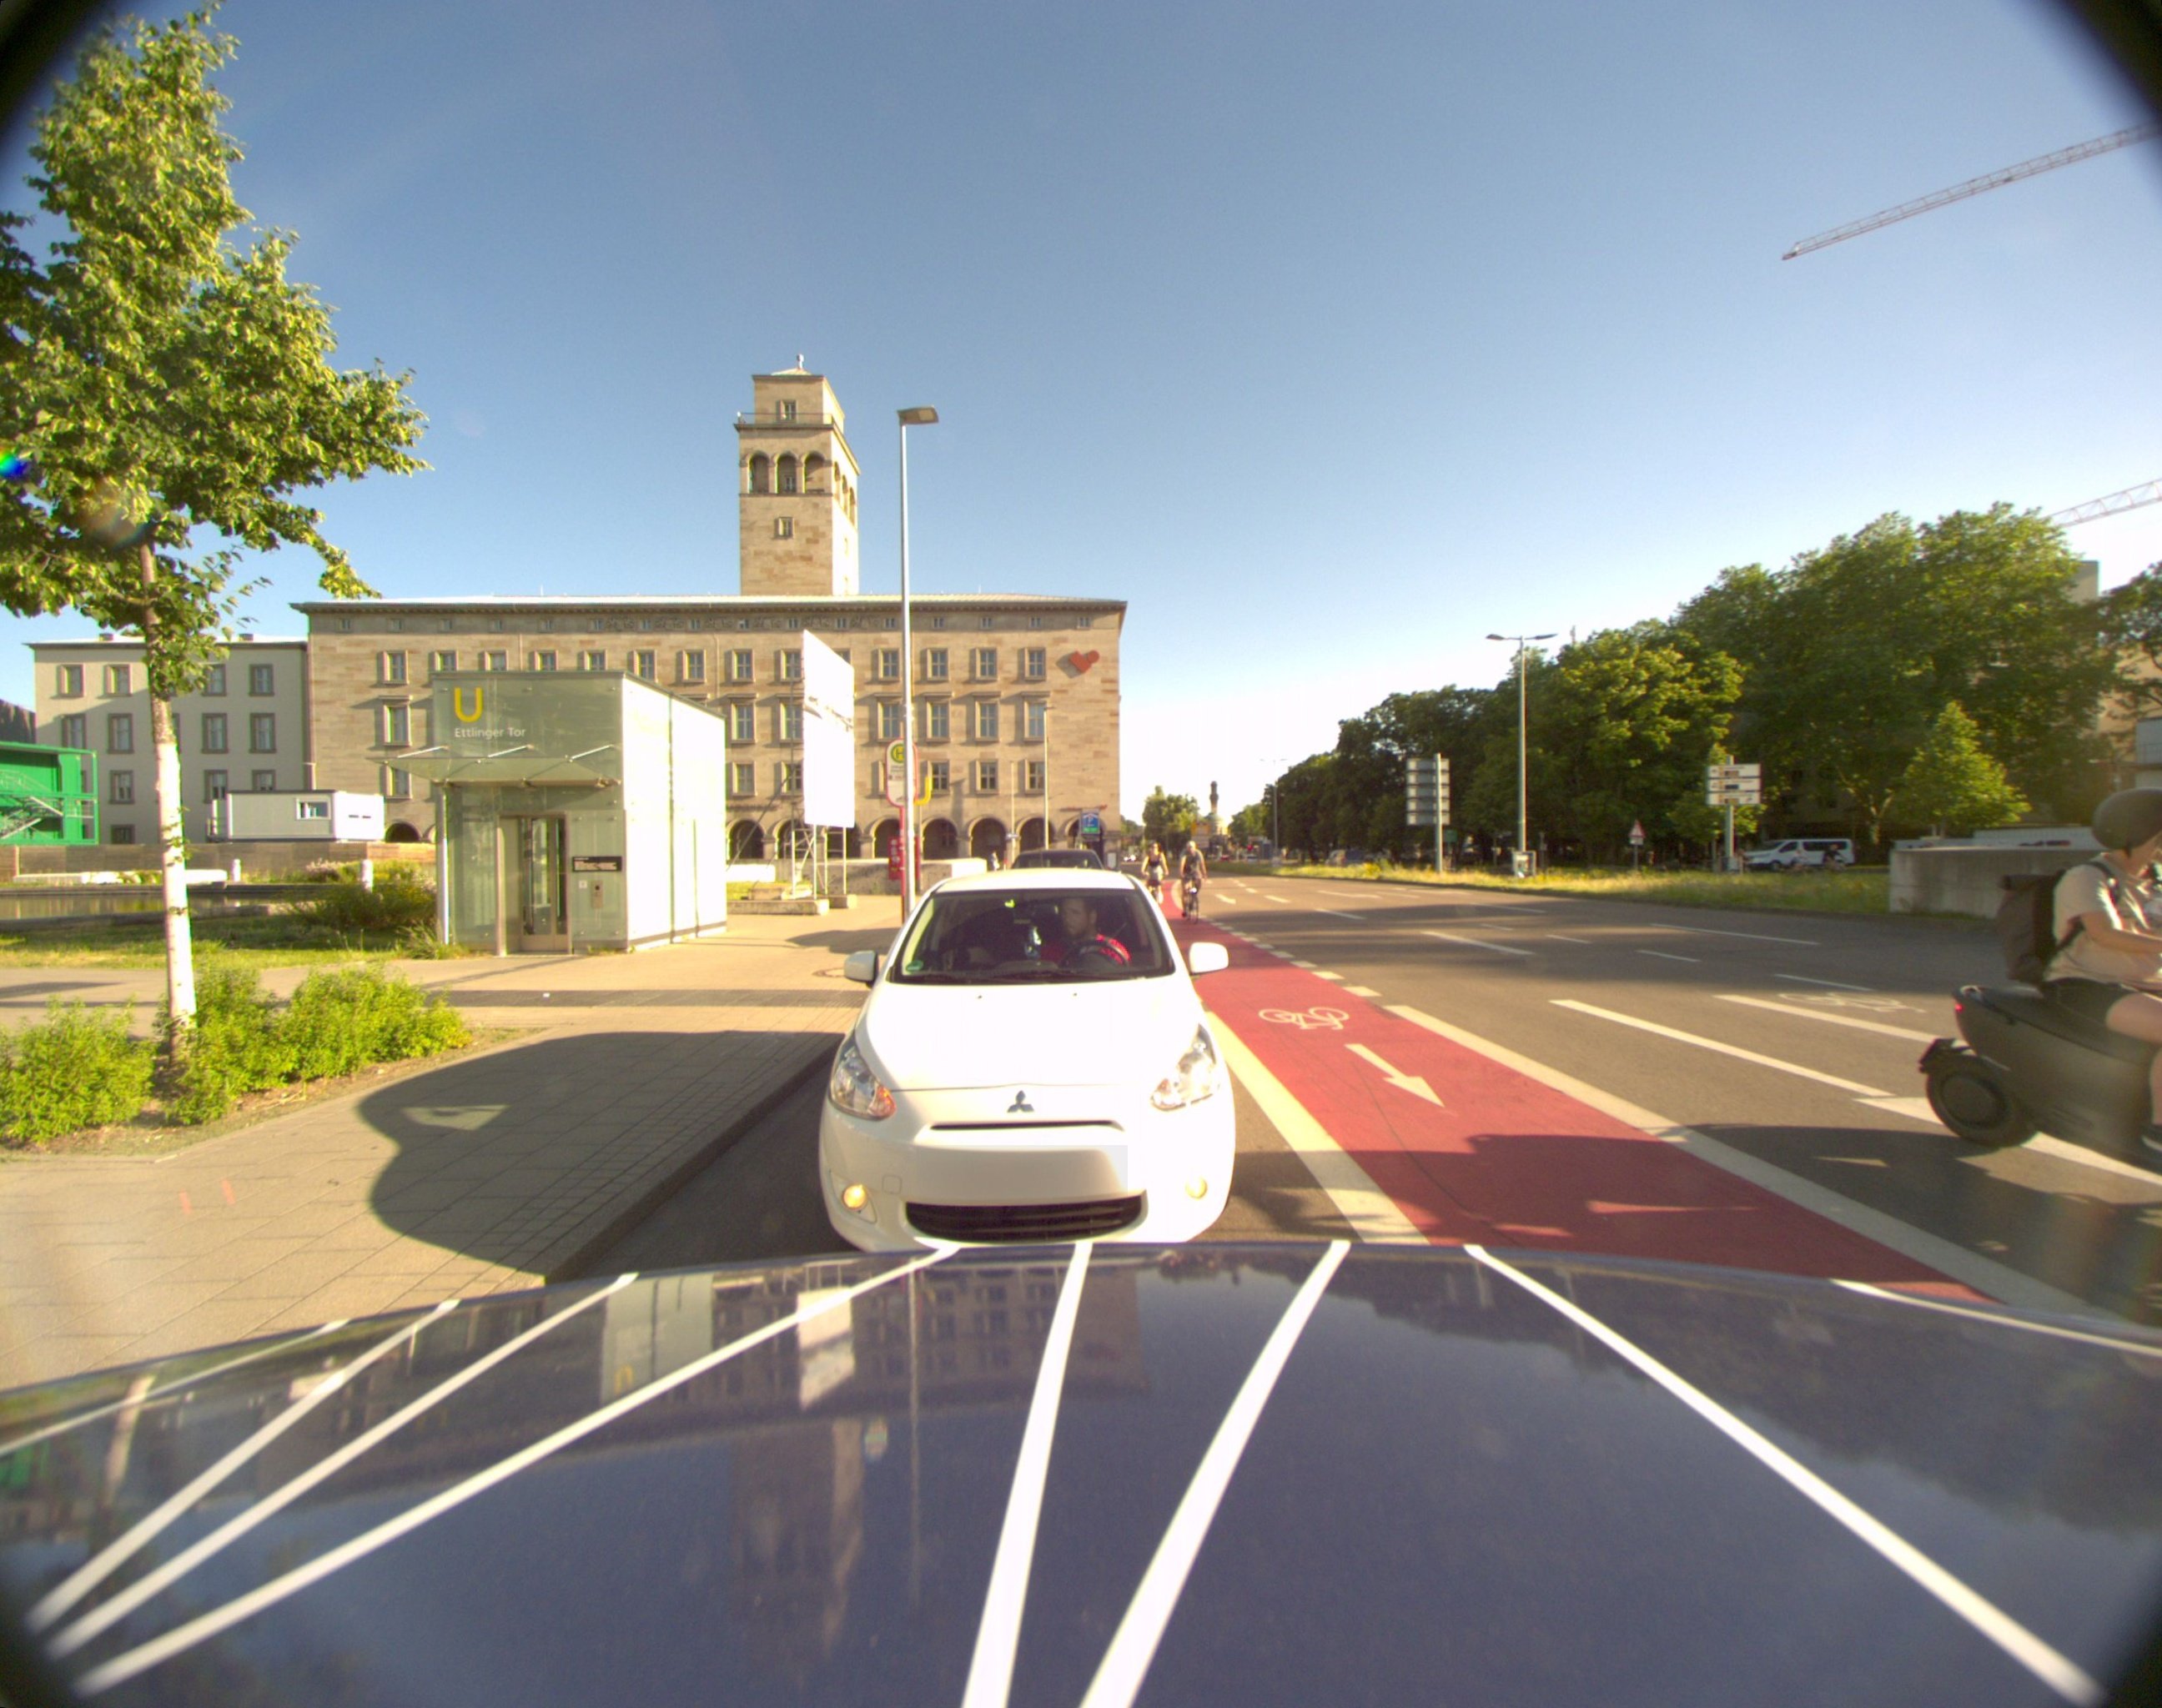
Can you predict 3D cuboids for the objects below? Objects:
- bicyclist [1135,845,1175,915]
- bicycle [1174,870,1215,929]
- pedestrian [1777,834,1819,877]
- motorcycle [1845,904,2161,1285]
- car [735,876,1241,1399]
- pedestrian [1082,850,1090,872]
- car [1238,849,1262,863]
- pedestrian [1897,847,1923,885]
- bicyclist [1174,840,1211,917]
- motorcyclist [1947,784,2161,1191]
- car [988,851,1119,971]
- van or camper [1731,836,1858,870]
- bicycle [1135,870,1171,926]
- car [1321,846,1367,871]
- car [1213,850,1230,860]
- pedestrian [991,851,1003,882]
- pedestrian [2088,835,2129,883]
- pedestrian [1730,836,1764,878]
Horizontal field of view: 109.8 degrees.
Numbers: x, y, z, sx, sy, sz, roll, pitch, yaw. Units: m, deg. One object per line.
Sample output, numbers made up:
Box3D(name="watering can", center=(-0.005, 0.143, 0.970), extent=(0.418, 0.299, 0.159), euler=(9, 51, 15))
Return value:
Box3D(name="bicyclist", center=(1.706, 0.584, 17.587), extent=(0.824, 1.568, 0.877), euler=(-1, 1, 1))
Box3D(name="bicycle", center=(2.454, 0.962, 16.570), extent=(0.689, 1.185, 1.506), euler=(-1, 1, 1))
Box3D(name="pedestrian", center=(33.277, 0.068, 35.283), extent=(1.126, 1.952, 0.815), euler=(-2, 1, 1))
Box3D(name="motorcycle", center=(4.272, 0.899, 2.872), extent=(0.828, 1.273, 1.944), euler=(-1, 0, 1))
Box3D(name="car", center=(-0.255, 0.927, 4.308), extent=(1.519, 1.447, 4.000), euler=(-1, 0, 1))
Box3D(name="pedestrian", center=(0.398, 0.549, 58.812), extent=(0.552, 1.692, 0.553), euler=(-1, 1, -1))
Box3D(name="car", center=(17.742, 0.177, 79.936), extent=(1.728, 1.369, 3.943), euler=(-1, 0, 1))
Box3D(name="pedestrian", center=(32.689, 0.462, 29.971), extent=(0.499, 1.502, 0.494), euler=(-1, 1, 1))
Box3D(name="bicyclist", center=(2.435, 0.526, 16.664), extent=(0.674, 1.649, 0.877), euler=(-1, 1, 1))
Box3D(name="motorcyclist", center=(4.273, 0.473, 2.947), extent=(0.824, 1.455, 0.877), euler=(-1, 1, 1))
Box3D(name="car", center=(-0.362, 0.797, 12.703), extent=(1.833, 1.660, 4.000), euler=(-1, 0, 1))
Box3D(name="van or camper", center=(42.238, -0.048, 45.063), extent=(5.499, 1.934, 1.951), euler=(-1, 0, 4))
Box3D(name="bicycle", center=(1.647, 0.982, 17.489), extent=(0.689, 1.185, 1.506), euler=(-1, 1, 1))
Box3D(name="car", center=(21.574, 0.340, 62.541), extent=(1.887, 1.911, 4.930), euler=(-1, 0, -2))
Box3D(name="car", center=(20.611, 0.183, 111.685), extent=(1.881, 1.472, 3.980), euler=(-1, 0, 1))
Box3D(name="pedestrian", center=(-4.726, 0.701, 42.602), extent=(0.595, 1.700, 0.583), euler=(-1, 1, 1))
Box3D(name="pedestrian", center=(35.031, 0.169, 25.898), extent=(0.588, 1.593, 0.598), euler=(-2, 1, -2))
Box3D(name="pedestrian", center=(32.672, 0.162, 37.285), extent=(0.957, 2.002, 0.839), euler=(-2, 1, -11))
